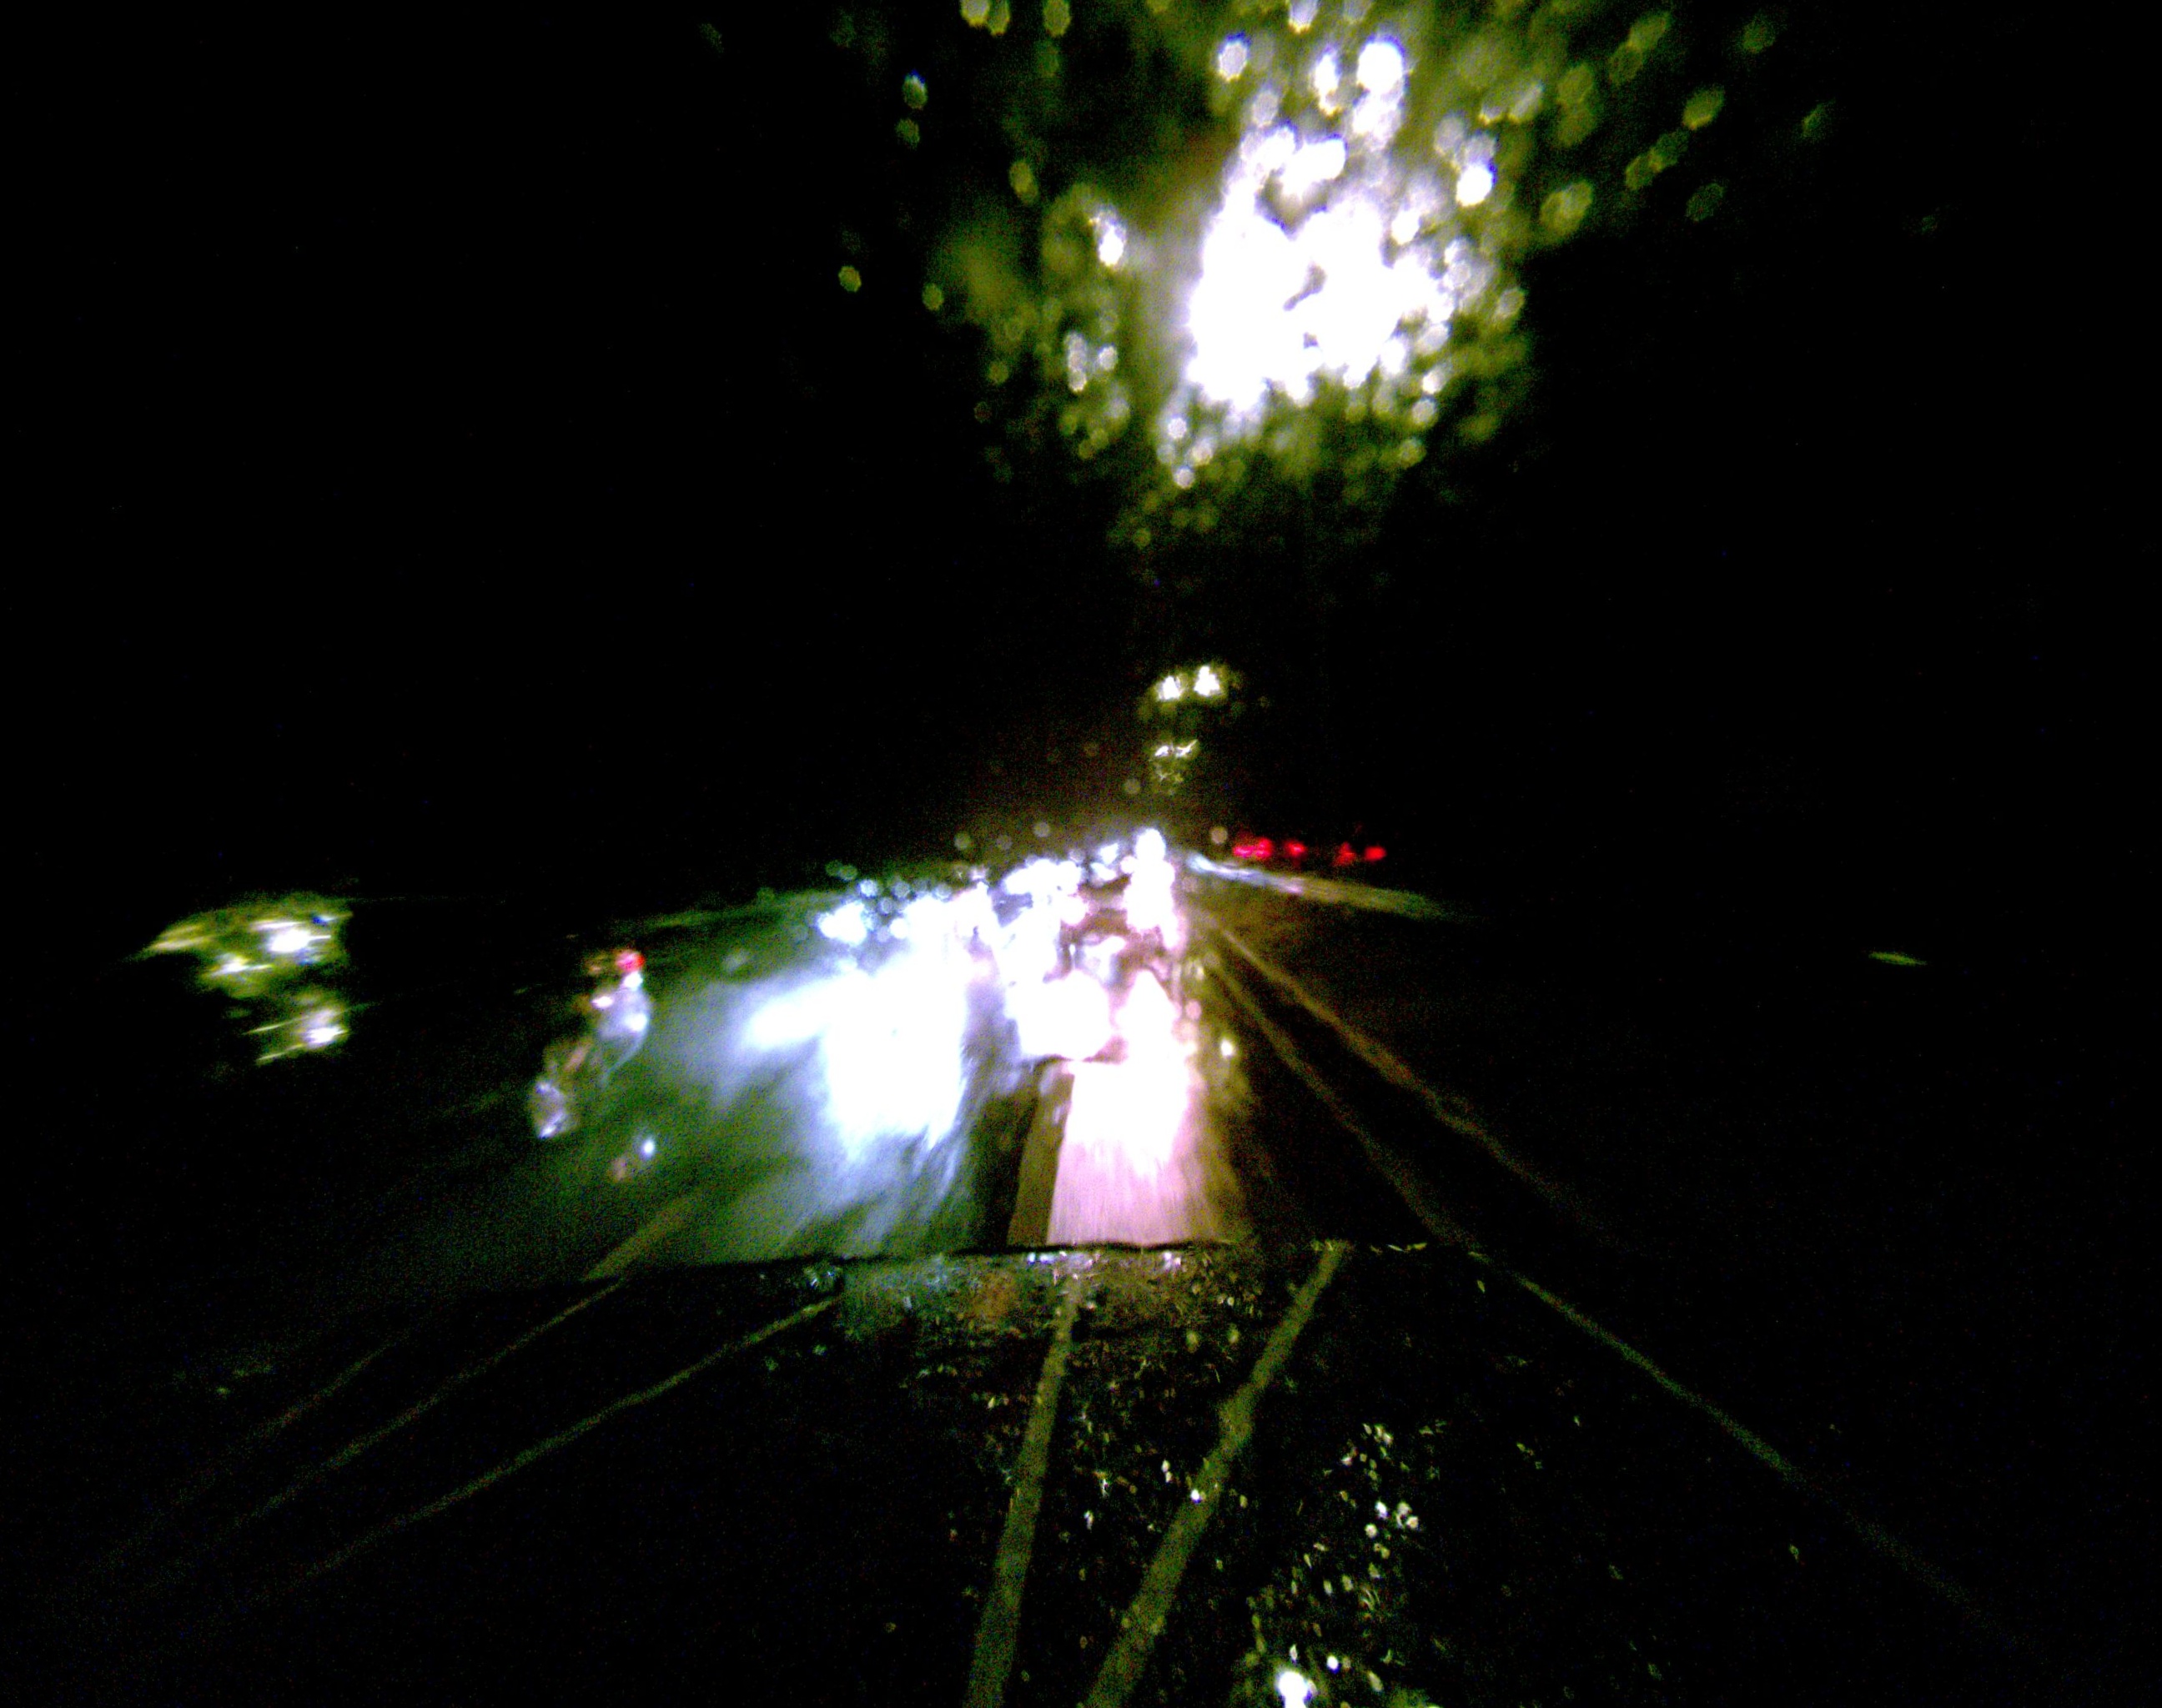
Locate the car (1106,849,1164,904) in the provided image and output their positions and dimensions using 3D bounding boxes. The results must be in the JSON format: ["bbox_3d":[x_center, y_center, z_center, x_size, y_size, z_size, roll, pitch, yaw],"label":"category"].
[{"bbox_3d":[1.701,0.654,24.229,1.605,1.417,3.389,-5,1,4],"label":"car"}]

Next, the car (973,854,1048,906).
[{"bbox_3d":[-2.286,0.820,25.644,1.742,1.409,4.140,-3,1,5],"label":"car"}]

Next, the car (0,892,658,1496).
[{"bbox_3d":[-3.781,1.059,2.683,1.676,1.497,4.561,-5,0,4],"label":"car"}]

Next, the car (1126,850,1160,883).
[{"bbox_3d":[4.207,0.829,51.836,1.998,2.002,3.999,-3,1,2],"label":"car"}]

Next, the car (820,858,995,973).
[{"bbox_3d":[-2.857,0.942,13.589,1.710,1.513,4.414,-3,1,4],"label":"car"}]

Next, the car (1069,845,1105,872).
[{"bbox_3d":[0.436,0.247,49.130,1.998,1.589,4.392,-2,1,4],"label":"car"}]

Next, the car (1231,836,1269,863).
[{"bbox_3d":[10.921,-0.320,49.263,1.873,1.598,4.249,-2,2,6],"label":"car"}]

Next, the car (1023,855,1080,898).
[{"bbox_3d":[-1.203,0.908,33.116,1.998,1.589,4.392,-2,1,4],"label":"car"}]

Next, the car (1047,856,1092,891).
[{"bbox_3d":[-0.562,0.967,40.451,1.998,1.589,4.392,-2,1,4],"label":"car"}]

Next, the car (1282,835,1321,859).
[{"bbox_3d":[14.566,-0.482,50.424,1.715,1.415,4.669,-1,1,7],"label":"car"}]

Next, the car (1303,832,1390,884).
[{"bbox_3d":[9.639,0.084,27.928,1.770,1.622,4.248,-2,3,1],"label":"car"}]

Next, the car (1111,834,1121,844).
[{"bbox_3d":[6.880,-2.932,149.063,1.998,2.002,4.000,-2,1,3],"label":"car"}]

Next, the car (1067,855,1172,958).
[{"bbox_3d":[0.706,0.780,12.854,1.496,1.416,3.390,-1,1,5],"label":"car"}]

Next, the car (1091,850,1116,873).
[{"bbox_3d":[2.042,0.646,67.640,1.998,1.790,4.000,-2,1,4],"label":"car"}]
